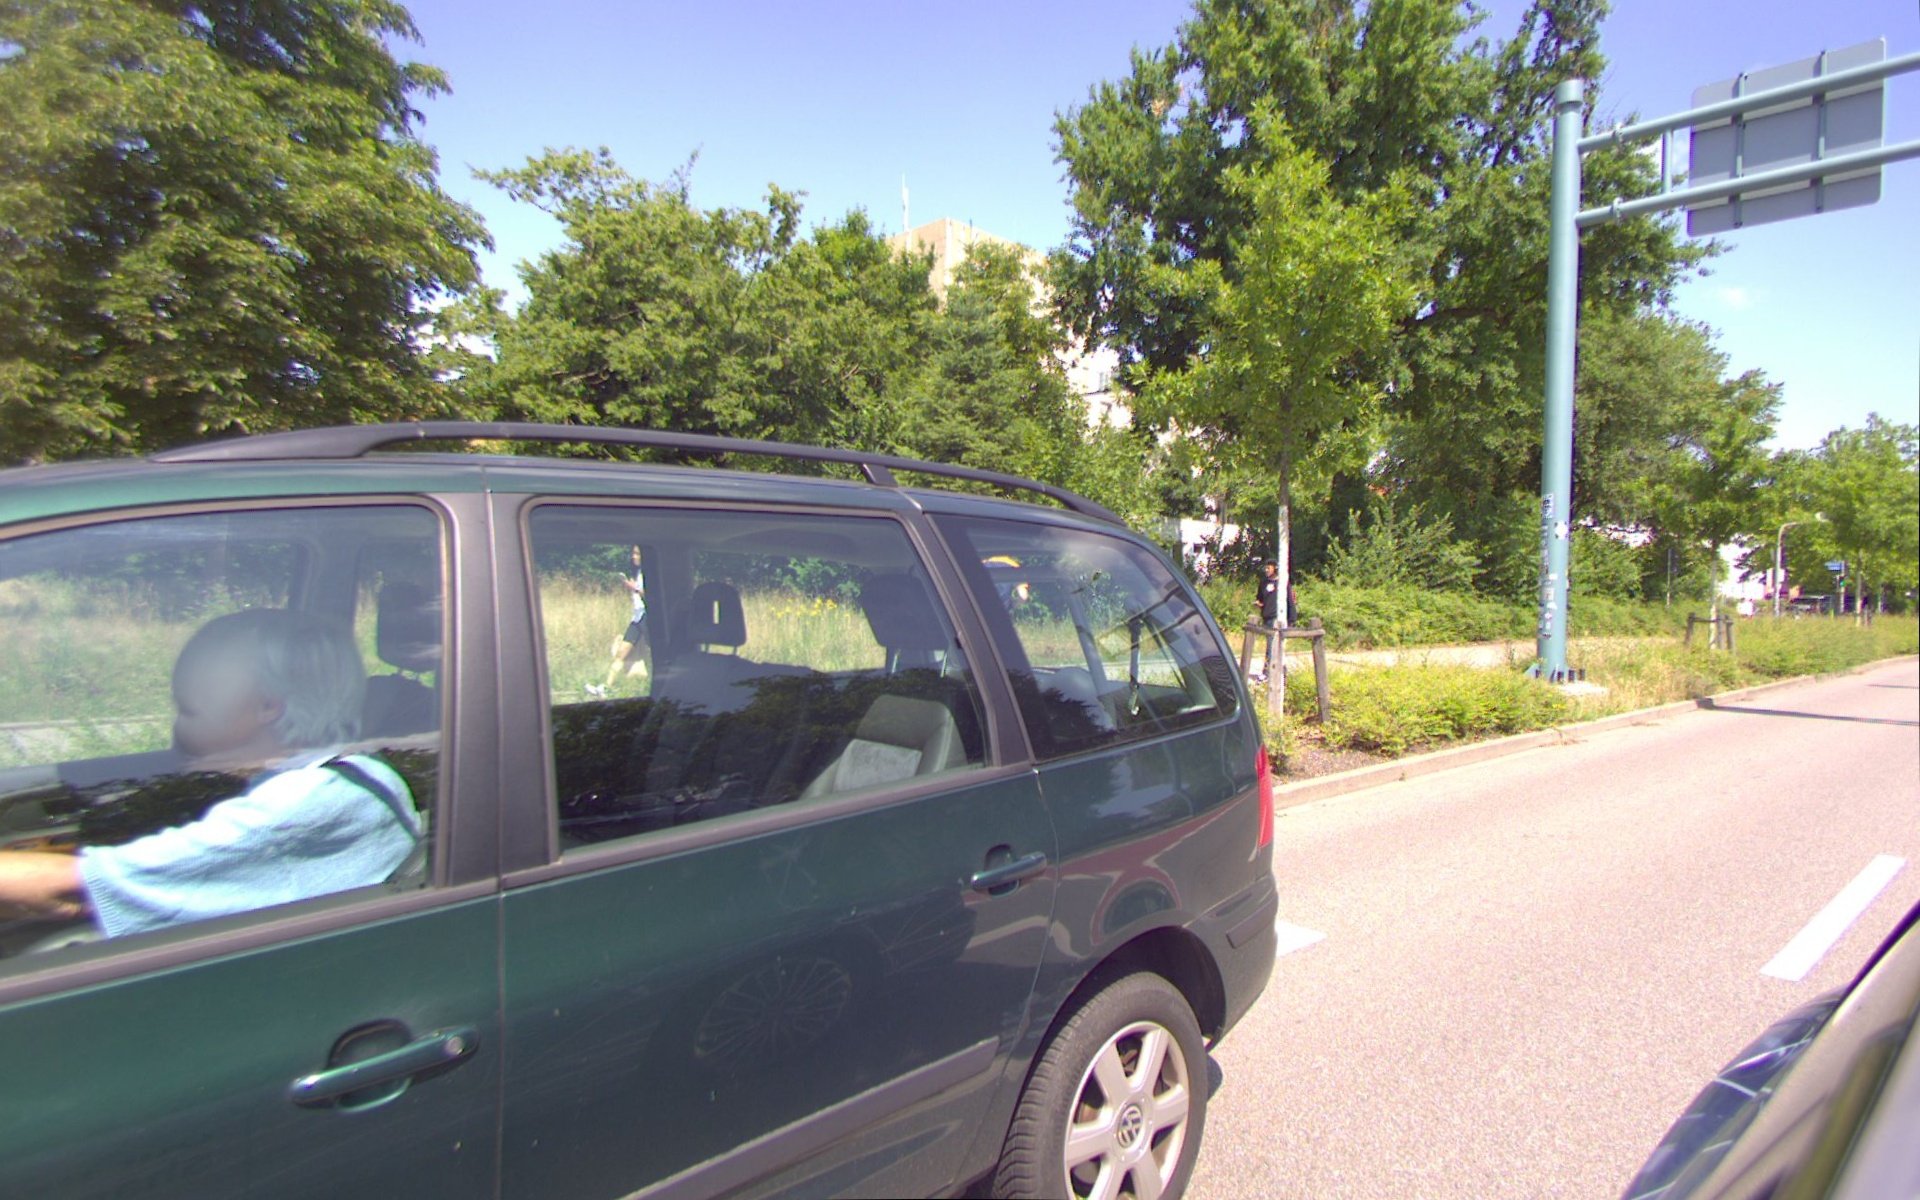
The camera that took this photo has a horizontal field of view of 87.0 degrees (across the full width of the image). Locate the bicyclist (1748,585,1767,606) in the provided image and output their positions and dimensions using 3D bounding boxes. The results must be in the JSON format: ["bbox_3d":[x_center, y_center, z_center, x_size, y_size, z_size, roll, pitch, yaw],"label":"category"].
[{"bbox_3d":[58.601,-0.330,74.362,0.969,1.462,1.060,1,1,43],"label":"bicyclist"}]

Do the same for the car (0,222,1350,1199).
[{"bbox_3d":[-1.189,0.508,1.942,4.311,1.756,1.815,1,0,-41],"label":"car"}]

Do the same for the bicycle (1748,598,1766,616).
[{"bbox_3d":[58.696,0.491,74.515,0.882,1.267,2.132,1,1,42],"label":"bicycle"}]

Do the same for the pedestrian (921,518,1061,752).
[{"bbox_3d":[0.263,0.278,8.898,0.760,1.916,0.952,1,0,-40],"label":"pedestrian"}]

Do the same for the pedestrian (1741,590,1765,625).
[{"bbox_3d":[43.222,0.392,55.146,0.968,1.896,0.866,1,1,41],"label":"pedestrian"}]

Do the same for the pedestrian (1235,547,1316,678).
[{"bbox_3d":[4.382,0.159,14.061,0.822,1.743,0.718,0,1,-39],"label":"pedestrian"}]

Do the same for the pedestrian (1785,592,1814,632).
[{"bbox_3d":[37.194,0.531,44.845,0.913,1.743,0.815,0,1,-39],"label":"pedestrian"}]

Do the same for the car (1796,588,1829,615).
[{"bbox_3d":[69.548,0.134,82.593,1.992,2.080,4.166,2,1,41],"label":"car"}]

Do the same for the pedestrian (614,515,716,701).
[{"bbox_3d":[-2.920,0.068,10.013,0.733,1.743,0.724,0,1,-39],"label":"pedestrian"}]
